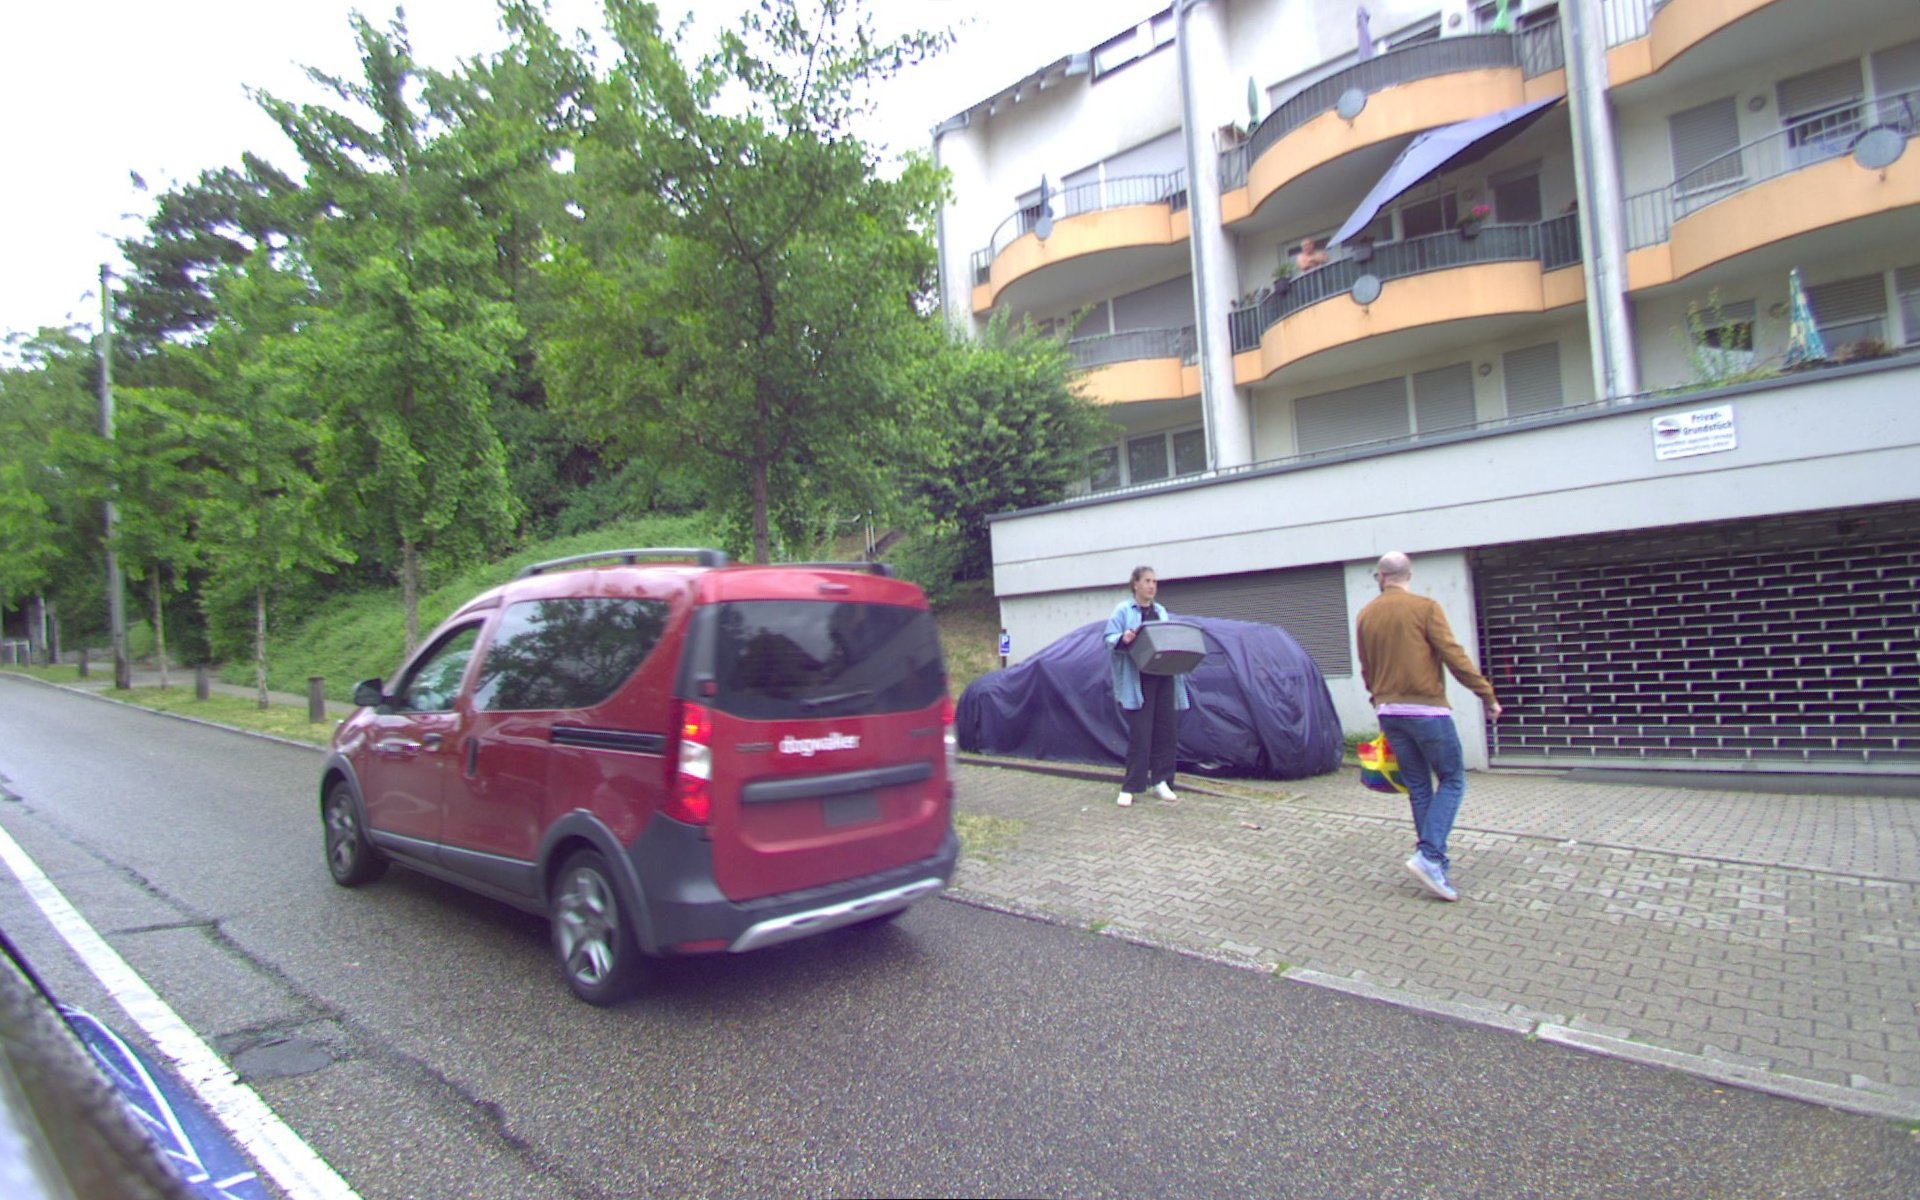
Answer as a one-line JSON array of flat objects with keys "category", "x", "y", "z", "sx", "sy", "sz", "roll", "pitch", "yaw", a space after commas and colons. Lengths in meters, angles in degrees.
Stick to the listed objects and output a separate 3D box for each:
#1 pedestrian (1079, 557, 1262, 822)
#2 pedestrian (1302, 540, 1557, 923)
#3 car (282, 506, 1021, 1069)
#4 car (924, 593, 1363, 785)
[{"category": "pedestrian", "x": 1.554, "y": 0.605, "z": 7.595, "sx": 0.810, "sy": 1.795, "sz": 1.077, "roll": -3, "pitch": 1, "yaw": -24}, {"category": "pedestrian", "x": 2.519, "y": 0.605, "z": 5.422, "sx": 1.056, "sy": 1.795, "sz": 0.826, "roll": -3, "pitch": 2, "yaw": -40}, {"category": "car", "x": -1.953, "y": 0.655, "z": 5.455, "sx": 4.456, "sy": 1.842, "sz": 1.728, "roll": -1, "pitch": -2, "yaw": 41}, {"category": "car", "x": 1.739, "y": 0.829, "z": 10.347, "sx": 4.096, "sy": 1.573, "sz": 1.759, "roll": -2, "pitch": -5, "yaw": 41}]
